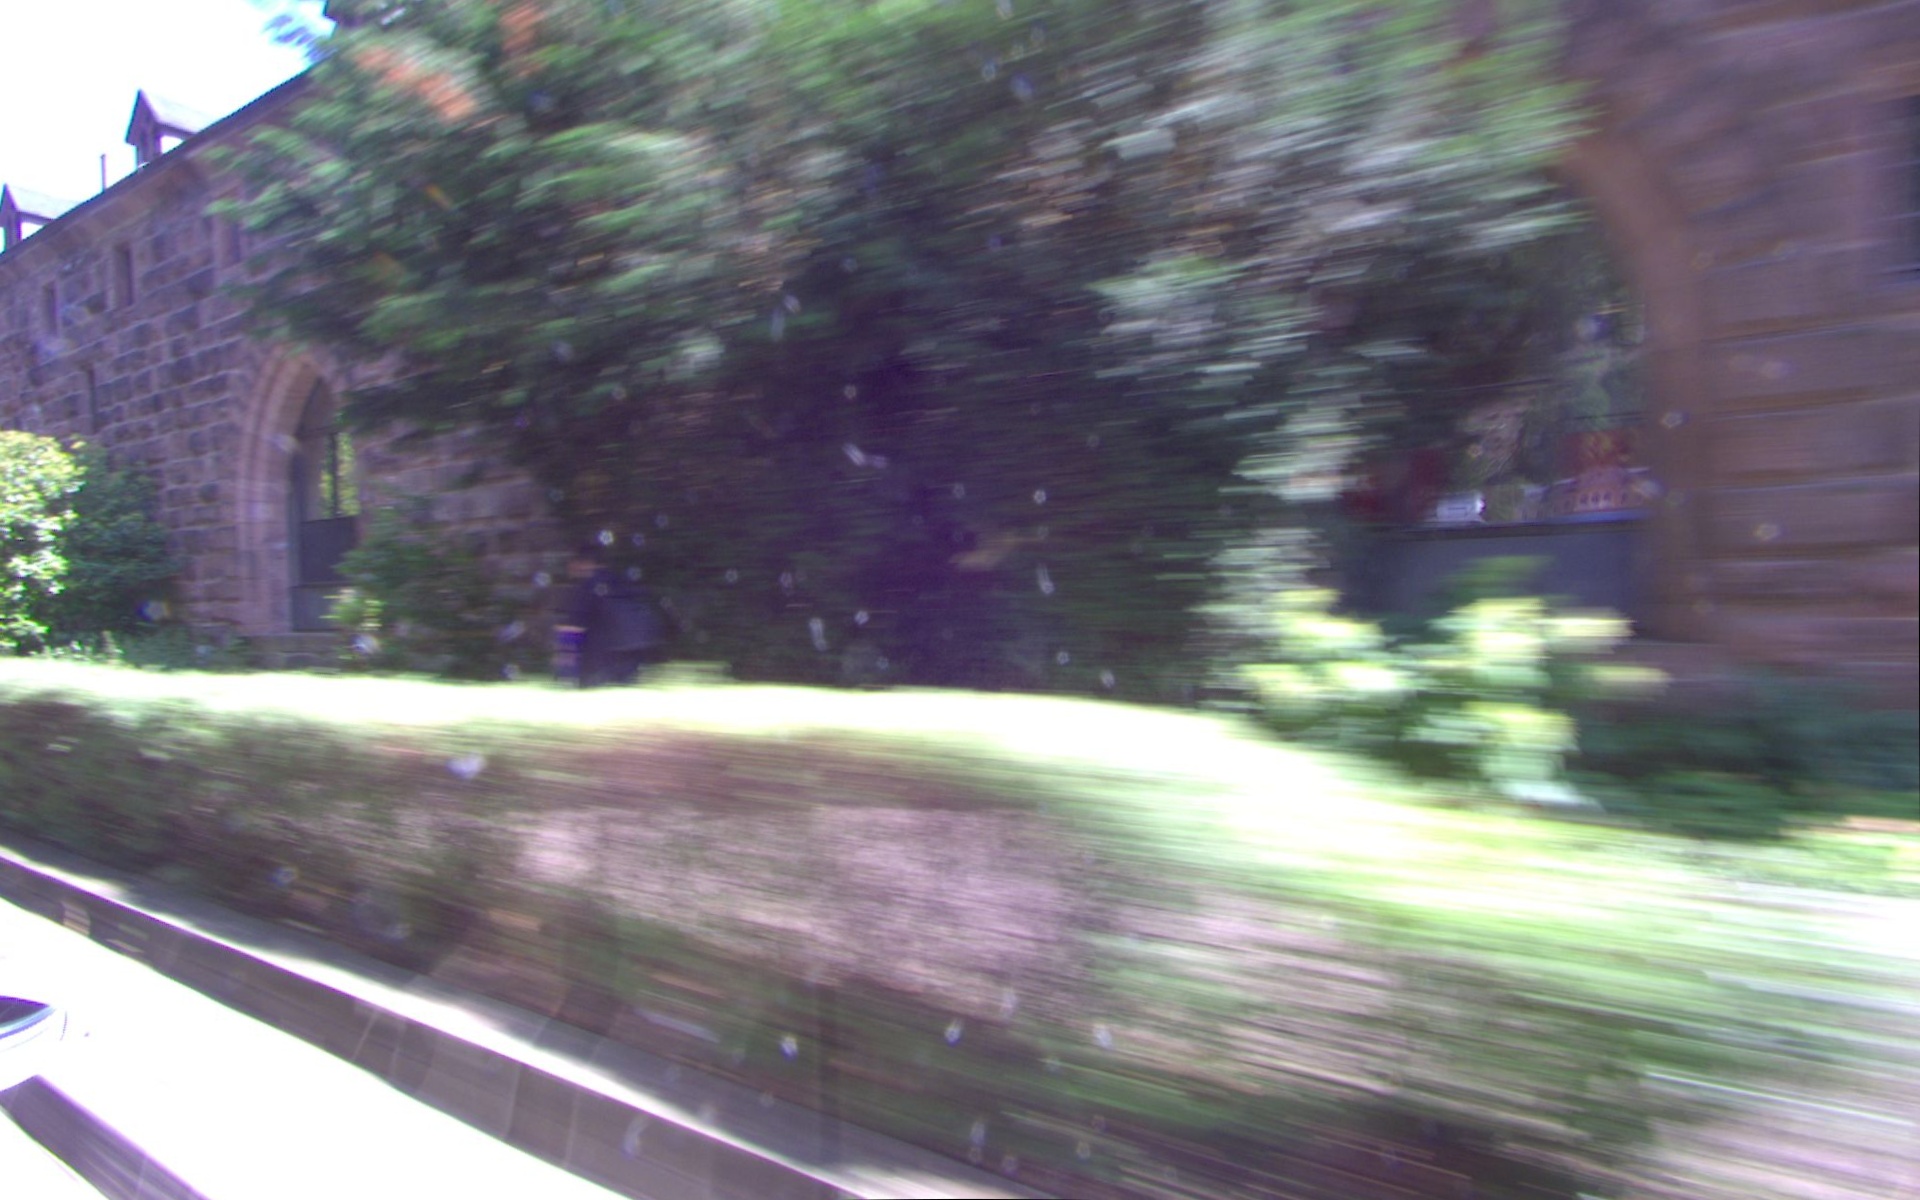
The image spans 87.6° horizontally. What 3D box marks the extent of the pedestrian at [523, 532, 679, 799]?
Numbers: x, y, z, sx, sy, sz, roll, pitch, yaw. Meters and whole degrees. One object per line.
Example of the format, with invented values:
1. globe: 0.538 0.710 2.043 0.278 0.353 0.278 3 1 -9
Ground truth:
1. pedestrian: -2.412 0.413 6.750 0.695 1.674 0.696 0 1 35
